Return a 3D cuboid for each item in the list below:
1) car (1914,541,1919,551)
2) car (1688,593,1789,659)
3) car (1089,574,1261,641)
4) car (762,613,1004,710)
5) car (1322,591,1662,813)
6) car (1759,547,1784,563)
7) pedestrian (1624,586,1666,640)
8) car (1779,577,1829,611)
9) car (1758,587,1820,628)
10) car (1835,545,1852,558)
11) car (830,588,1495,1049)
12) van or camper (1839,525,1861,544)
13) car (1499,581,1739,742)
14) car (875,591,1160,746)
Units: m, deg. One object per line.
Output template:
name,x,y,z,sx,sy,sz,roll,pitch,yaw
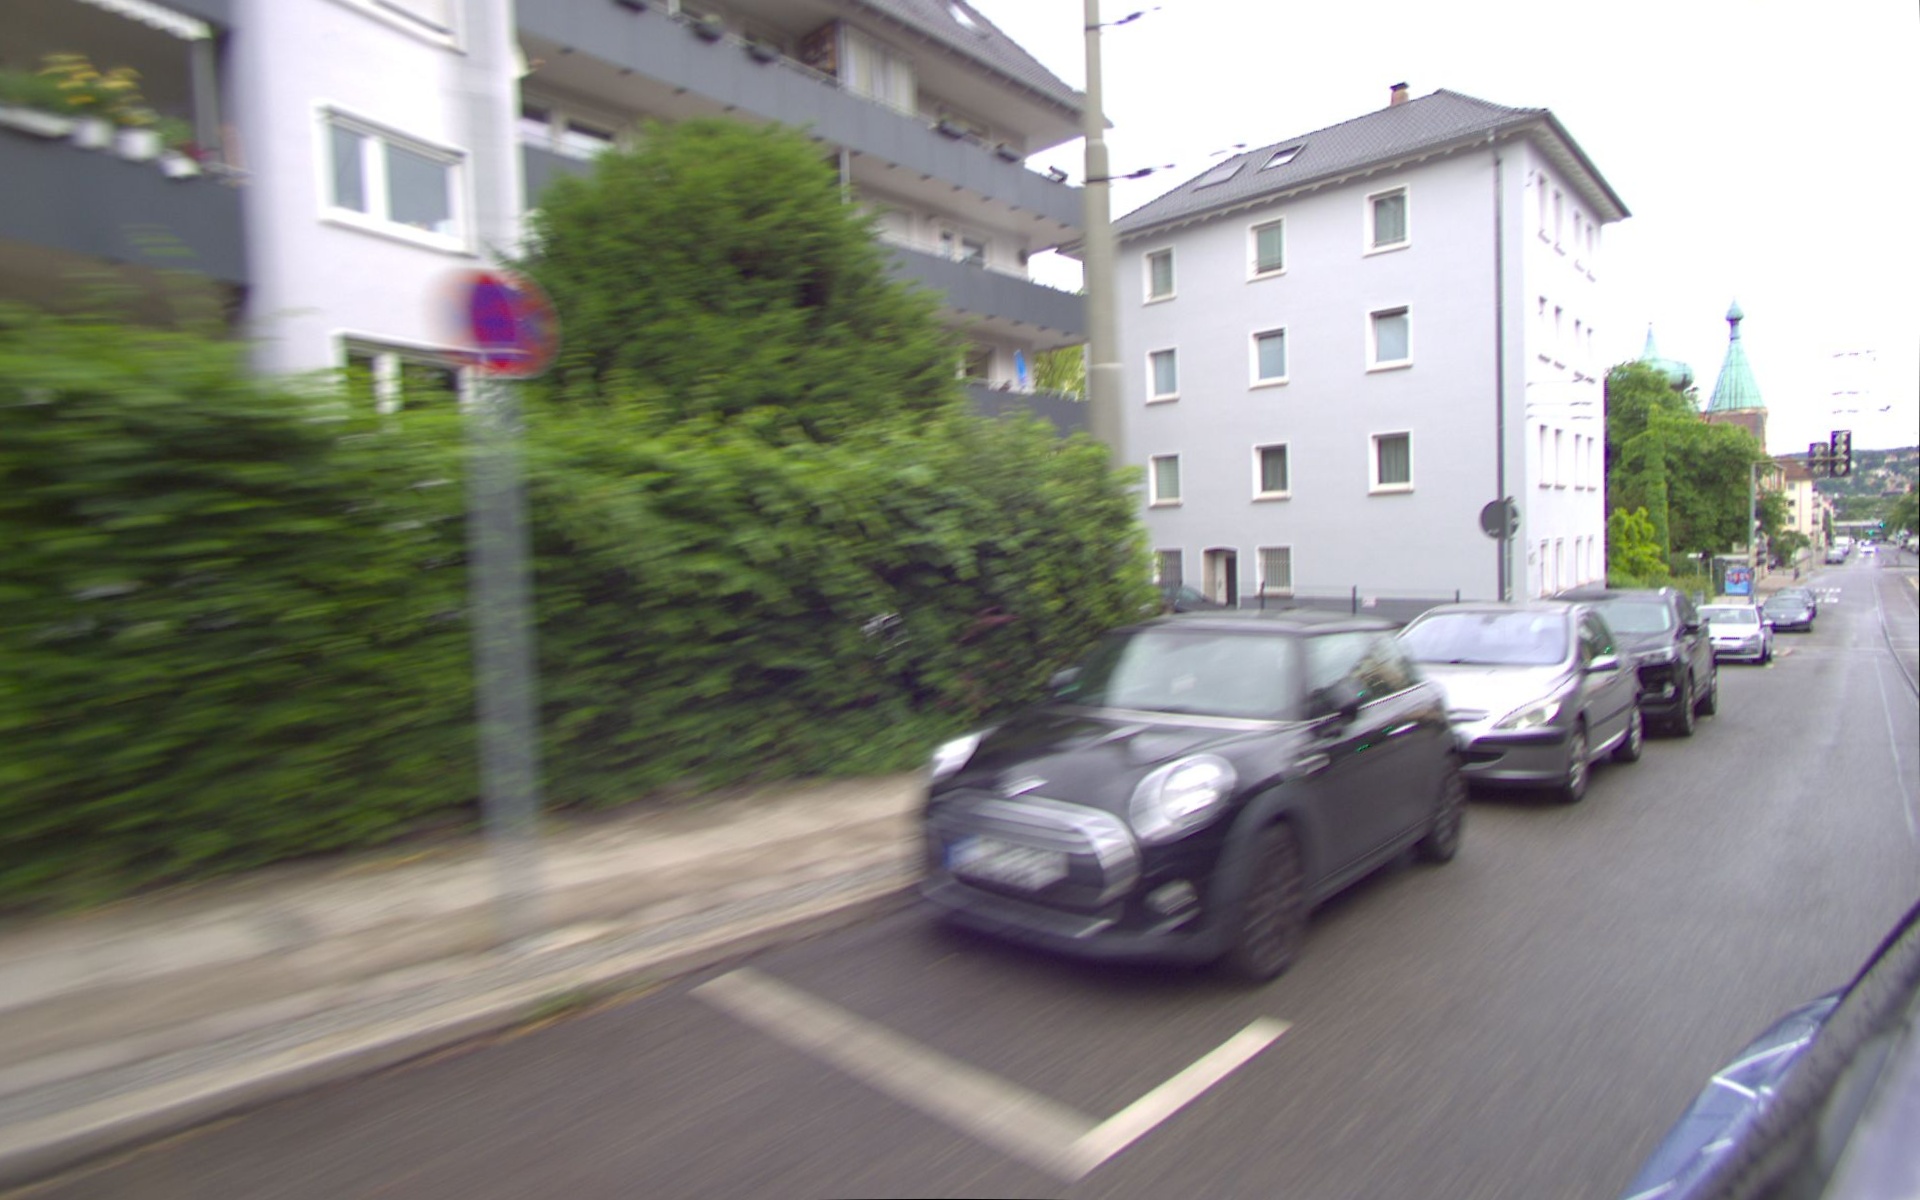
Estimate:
car,178.170,-10.049,187.366,1.992,1.593,3.943,-1,4,41
car,19.296,0.602,25.034,1.703,1.451,4.041,-2,0,41
car,5.722,0.136,27.339,1.788,1.449,4.378,-4,5,-41
car,-1.268,1.004,18.298,1.775,1.396,4.364,0,1,42
car,4.852,0.679,8.909,1.703,1.446,4.187,-2,0,41
car,91.761,-5.154,114.478,1.853,1.520,4.384,4,8,42
pedestrian,20.912,0.394,30.897,0.883,1.603,0.788,2,0,45
car,43.242,-0.320,51.827,1.856,1.505,4.579,-1,3,41
car,35.318,0.293,43.106,1.937,1.482,4.147,-1,3,40
car,116.666,-6.405,133.614,1.729,1.477,4.414,-1,4,42
car,1.331,0.695,5.247,1.703,1.444,3.805,-2,0,41
van or camper,161.704,-11.972,183.890,2.746,3.094,6.927,0,4,43
car,8.516,0.616,12.882,1.904,1.662,4.620,-2,0,41
car,0.935,0.807,14.091,1.719,1.532,4.144,-1,4,42
